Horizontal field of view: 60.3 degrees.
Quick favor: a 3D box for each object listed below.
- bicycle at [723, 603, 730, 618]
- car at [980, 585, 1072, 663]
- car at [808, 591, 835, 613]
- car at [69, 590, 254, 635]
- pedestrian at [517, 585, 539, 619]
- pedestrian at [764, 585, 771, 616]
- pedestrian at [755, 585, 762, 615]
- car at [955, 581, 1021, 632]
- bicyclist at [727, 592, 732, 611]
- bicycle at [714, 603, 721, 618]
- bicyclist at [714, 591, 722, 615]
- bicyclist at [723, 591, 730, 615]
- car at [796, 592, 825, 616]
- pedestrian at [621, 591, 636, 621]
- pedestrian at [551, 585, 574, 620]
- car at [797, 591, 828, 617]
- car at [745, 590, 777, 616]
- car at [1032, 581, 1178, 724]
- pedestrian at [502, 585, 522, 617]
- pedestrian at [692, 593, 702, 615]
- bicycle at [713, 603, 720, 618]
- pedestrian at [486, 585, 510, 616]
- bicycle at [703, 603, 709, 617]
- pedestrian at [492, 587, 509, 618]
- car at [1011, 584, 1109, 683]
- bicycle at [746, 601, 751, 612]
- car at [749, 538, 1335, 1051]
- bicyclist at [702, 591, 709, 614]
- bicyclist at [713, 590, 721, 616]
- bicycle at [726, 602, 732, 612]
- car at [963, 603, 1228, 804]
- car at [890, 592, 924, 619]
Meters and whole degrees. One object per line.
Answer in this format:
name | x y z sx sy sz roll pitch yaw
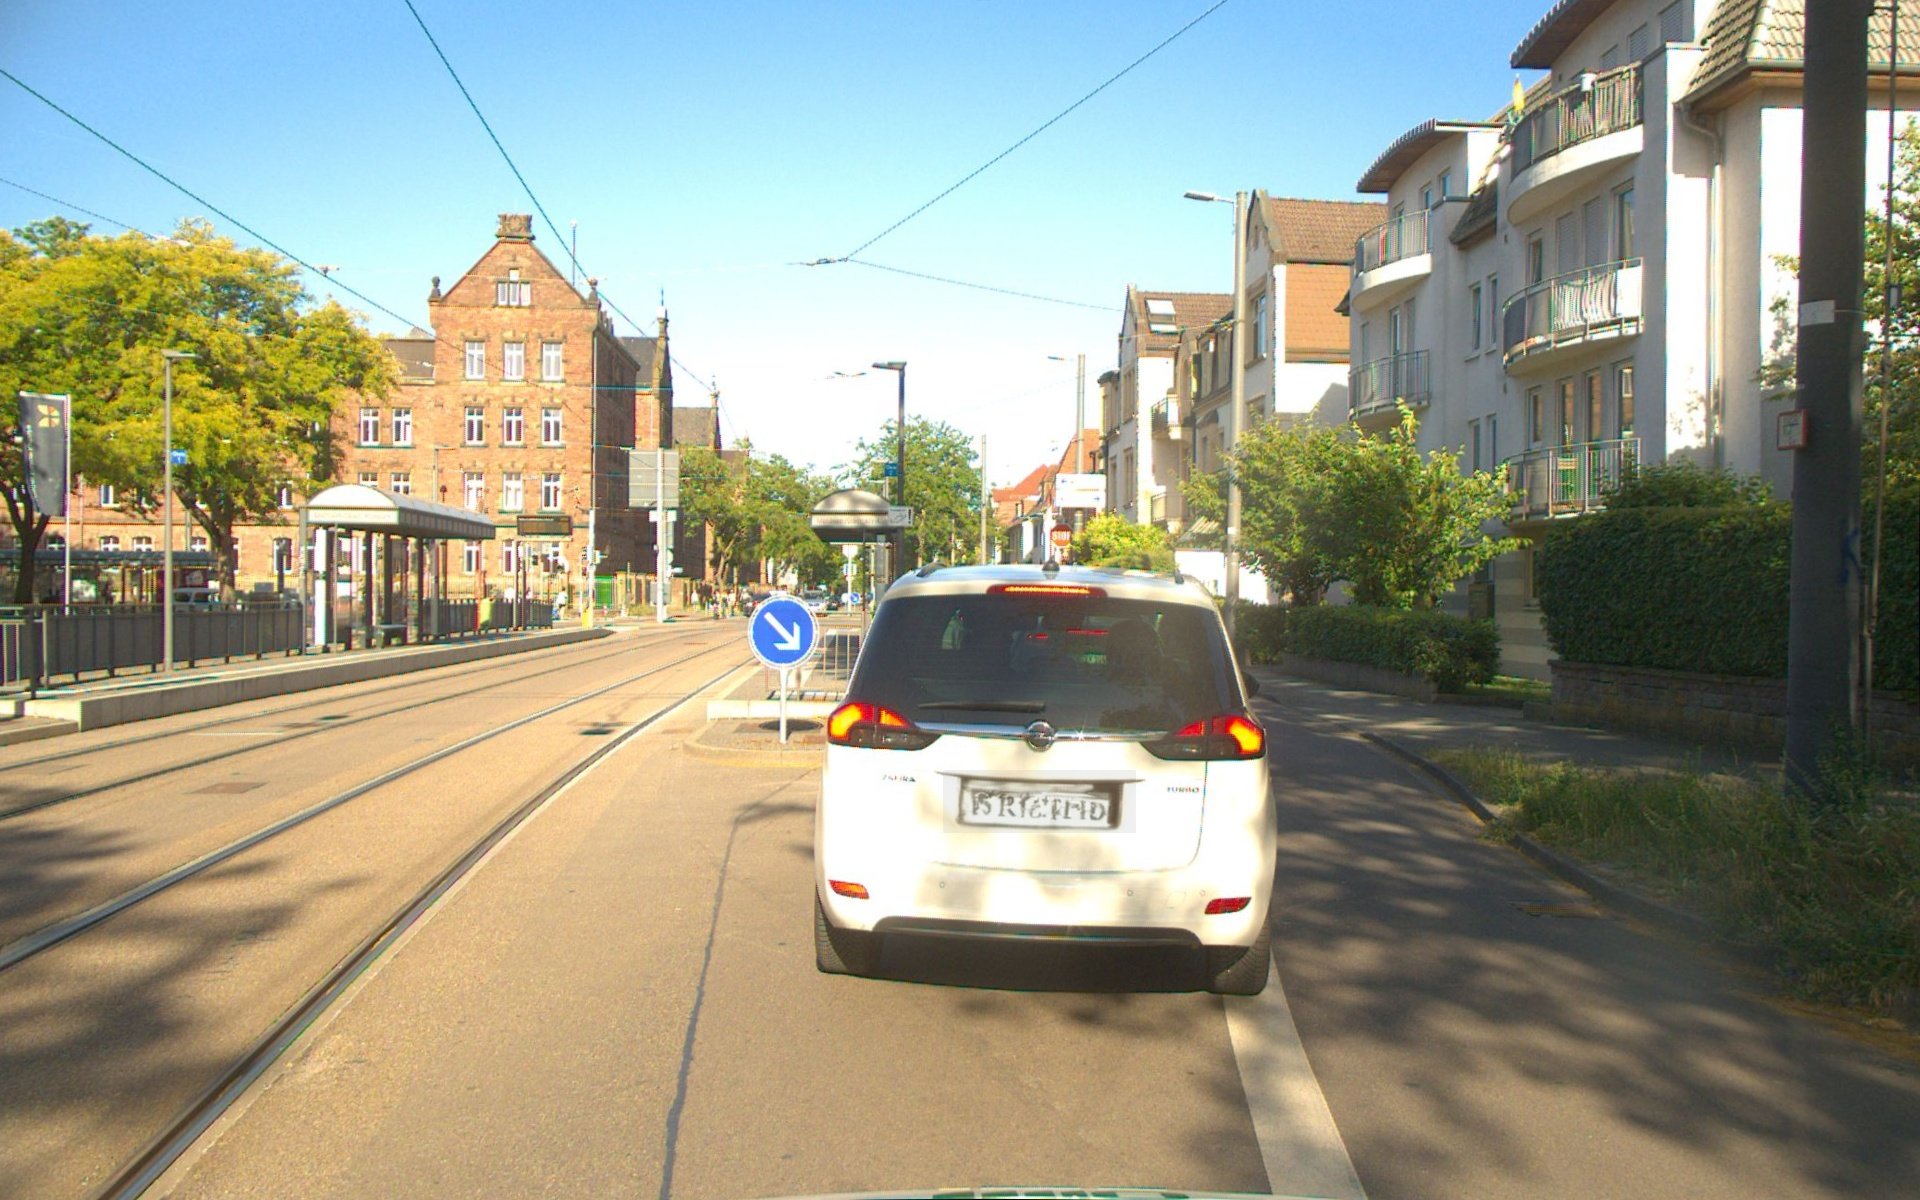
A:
bicycle | -15.386 0.680 108.910 0.337 0.966 0.996 1 0 -4
car | 1.383 0.495 36.183 1.793 1.607 4.009 0 0 -1
car | -10.933 0.148 130.476 1.953 1.657 3.998 0 0 -3
car | -35.720 0.536 74.184 6.810 1.954 2.991 0 0 -2
pedestrian | -21.627 0.103 82.809 0.825 1.721 1.029 1 0 -1
pedestrian | -13.047 0.023 112.043 0.435 2.049 0.495 0 0 -4
pedestrian | -13.640 0.012 111.731 0.435 2.049 0.495 0 0 -4
car | 0.833 0.195 51.760 1.953 1.529 3.999 0 0 -1
bicyclist | -16.773 0.103 120.330 0.337 1.343 0.404 1 -1 -4
bicycle | -15.604 0.665 106.358 0.337 0.966 0.996 1 0 -4
bicyclist | -15.568 0.190 106.316 0.435 1.580 0.495 0 0 -4
bicyclist | -15.376 0.205 108.904 0.435 1.580 0.495 0 0 -4
car | -10.344 0.267 114.246 1.955 1.657 3.996 0 0 -5
pedestrian | -19.420 0.364 96.942 0.719 1.744 0.706 1 -1 -1
pedestrian | -19.808 0.125 82.434 0.877 1.713 1.029 1 0 -1
car | -9.540 0.251 107.152 1.955 1.657 3.996 0 0 -5
car | -12.850 0.201 106.879 1.955 1.657 3.996 0 0 -5
car | 1.743 0.587 20.835 1.603 1.629 3.855 0 0 1
pedestrian | -22.563 0.060 83.305 0.786 1.616 0.934 1 0 -3
pedestrian | -21.020 0.345 132.366 0.720 1.744 0.753 1 -1 -6
bicycle | -15.156 0.658 102.832 0.337 0.966 1.159 1 0 -4
pedestrian | -24.524 0.045 87.780 0.913 1.616 0.804 1 -1 22
bicycle | -17.648 0.666 114.851 0.337 0.966 0.996 1 0 -4
pedestrian | -24.421 0.117 87.863 0.790 1.616 0.929 1 -1 -19
car | 1.717 0.553 29.263 1.603 1.629 3.855 0 0 1
bicycle | -15.442 0.470 120.732 0.337 0.737 0.996 1 0 -4
car | 0.458 0.650 7.589 1.951 1.673 3.996 1 0 6
bicyclist | -17.642 0.190 114.815 0.435 1.580 0.495 0 0 -4
bicyclist | -15.147 0.183 103.041 0.435 1.580 0.742 0 0 -4
bicycle | -16.780 0.483 120.324 0.337 0.737 0.996 1 0 -4
car | 1.033 0.750 13.976 1.912 1.422 4.001 0 0 1
car | -3.301 0.337 102.366 1.954 1.657 3.997 0 0 -4
